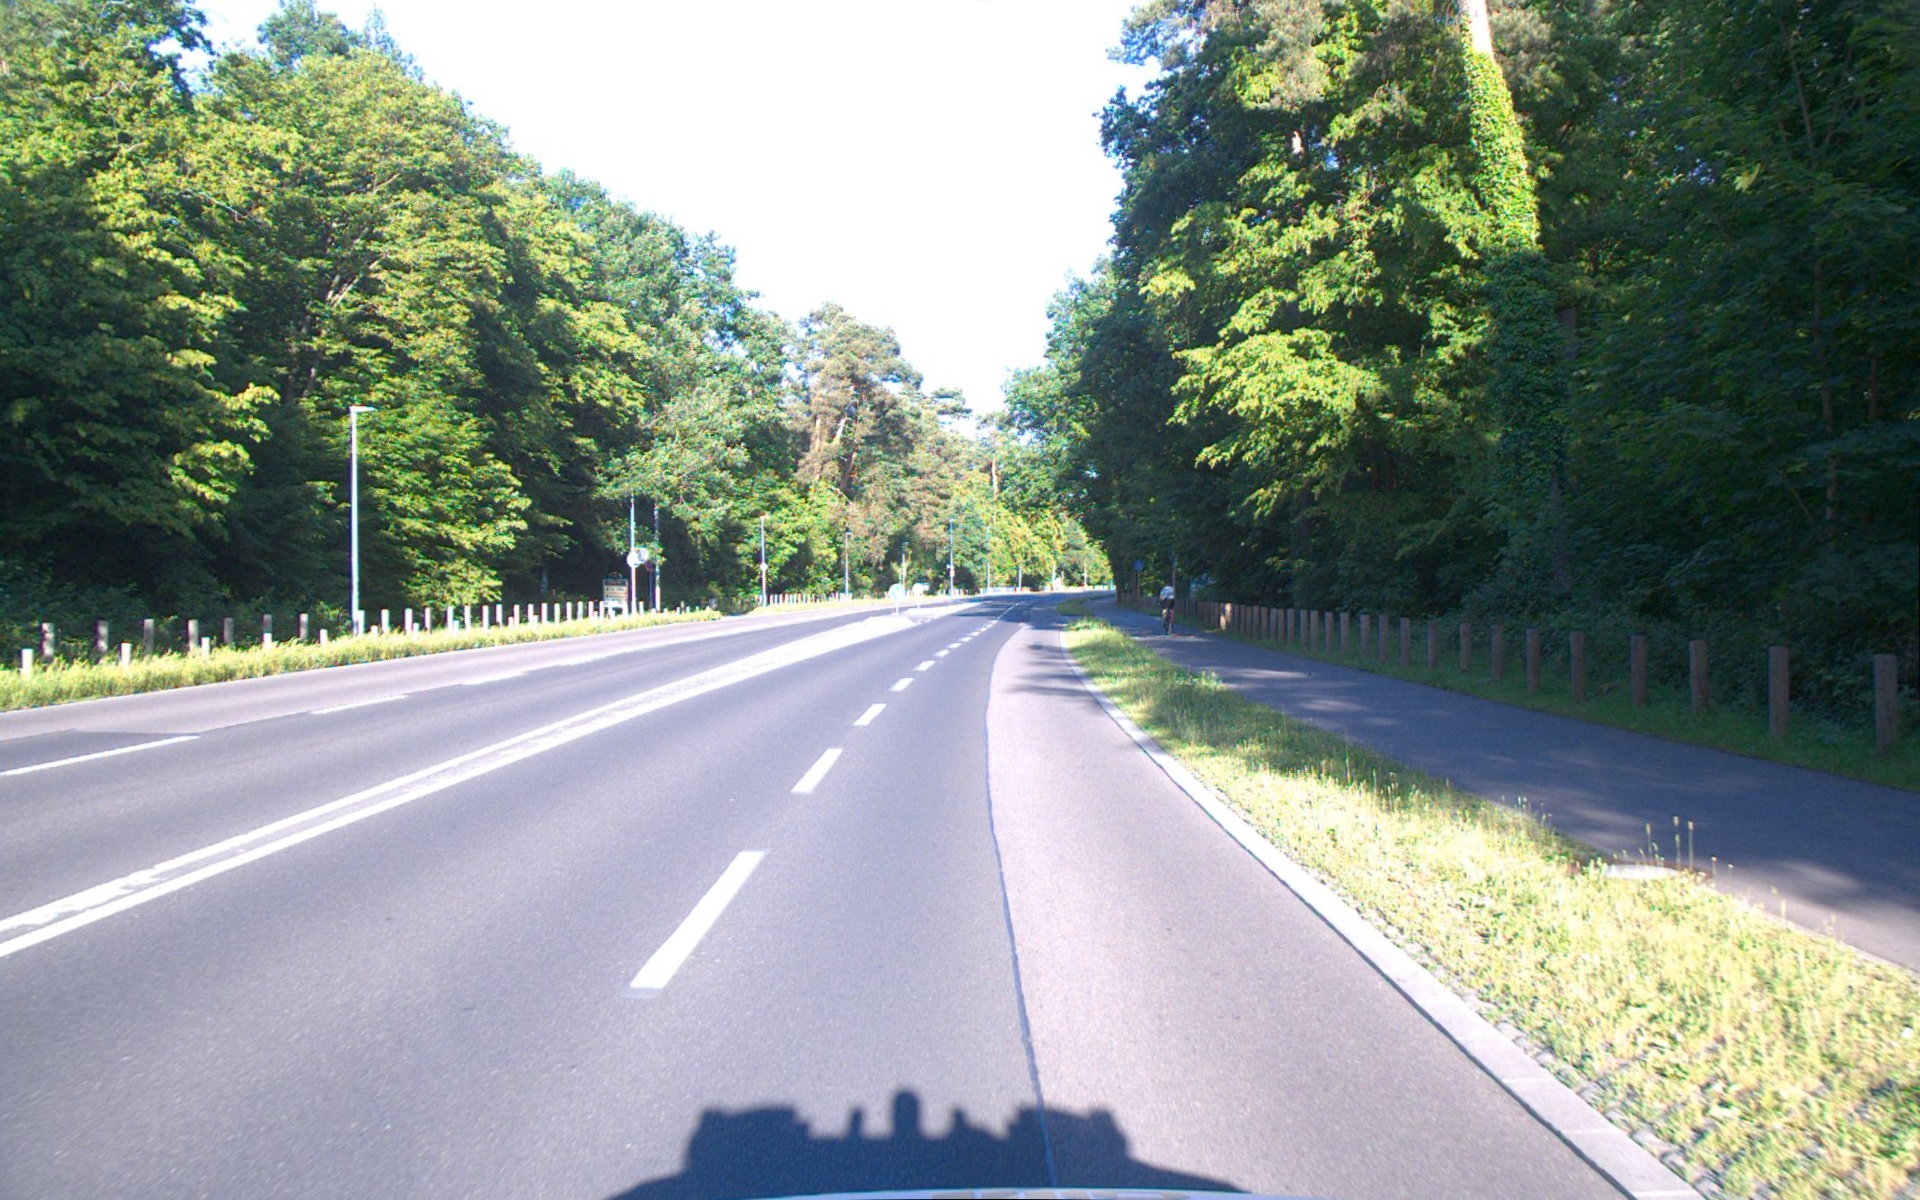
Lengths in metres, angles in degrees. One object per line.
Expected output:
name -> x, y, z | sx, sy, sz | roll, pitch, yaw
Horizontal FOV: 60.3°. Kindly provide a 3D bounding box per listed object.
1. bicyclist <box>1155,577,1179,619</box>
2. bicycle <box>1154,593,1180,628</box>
bicyclist -> 6.613, -0.068, 52.839 | 0.697, 1.311, 1.105 | 0, 0, 3
bicycle -> 6.607, 0.334, 52.841 | 0.697, 1.074, 2.054 | 0, 0, 3
